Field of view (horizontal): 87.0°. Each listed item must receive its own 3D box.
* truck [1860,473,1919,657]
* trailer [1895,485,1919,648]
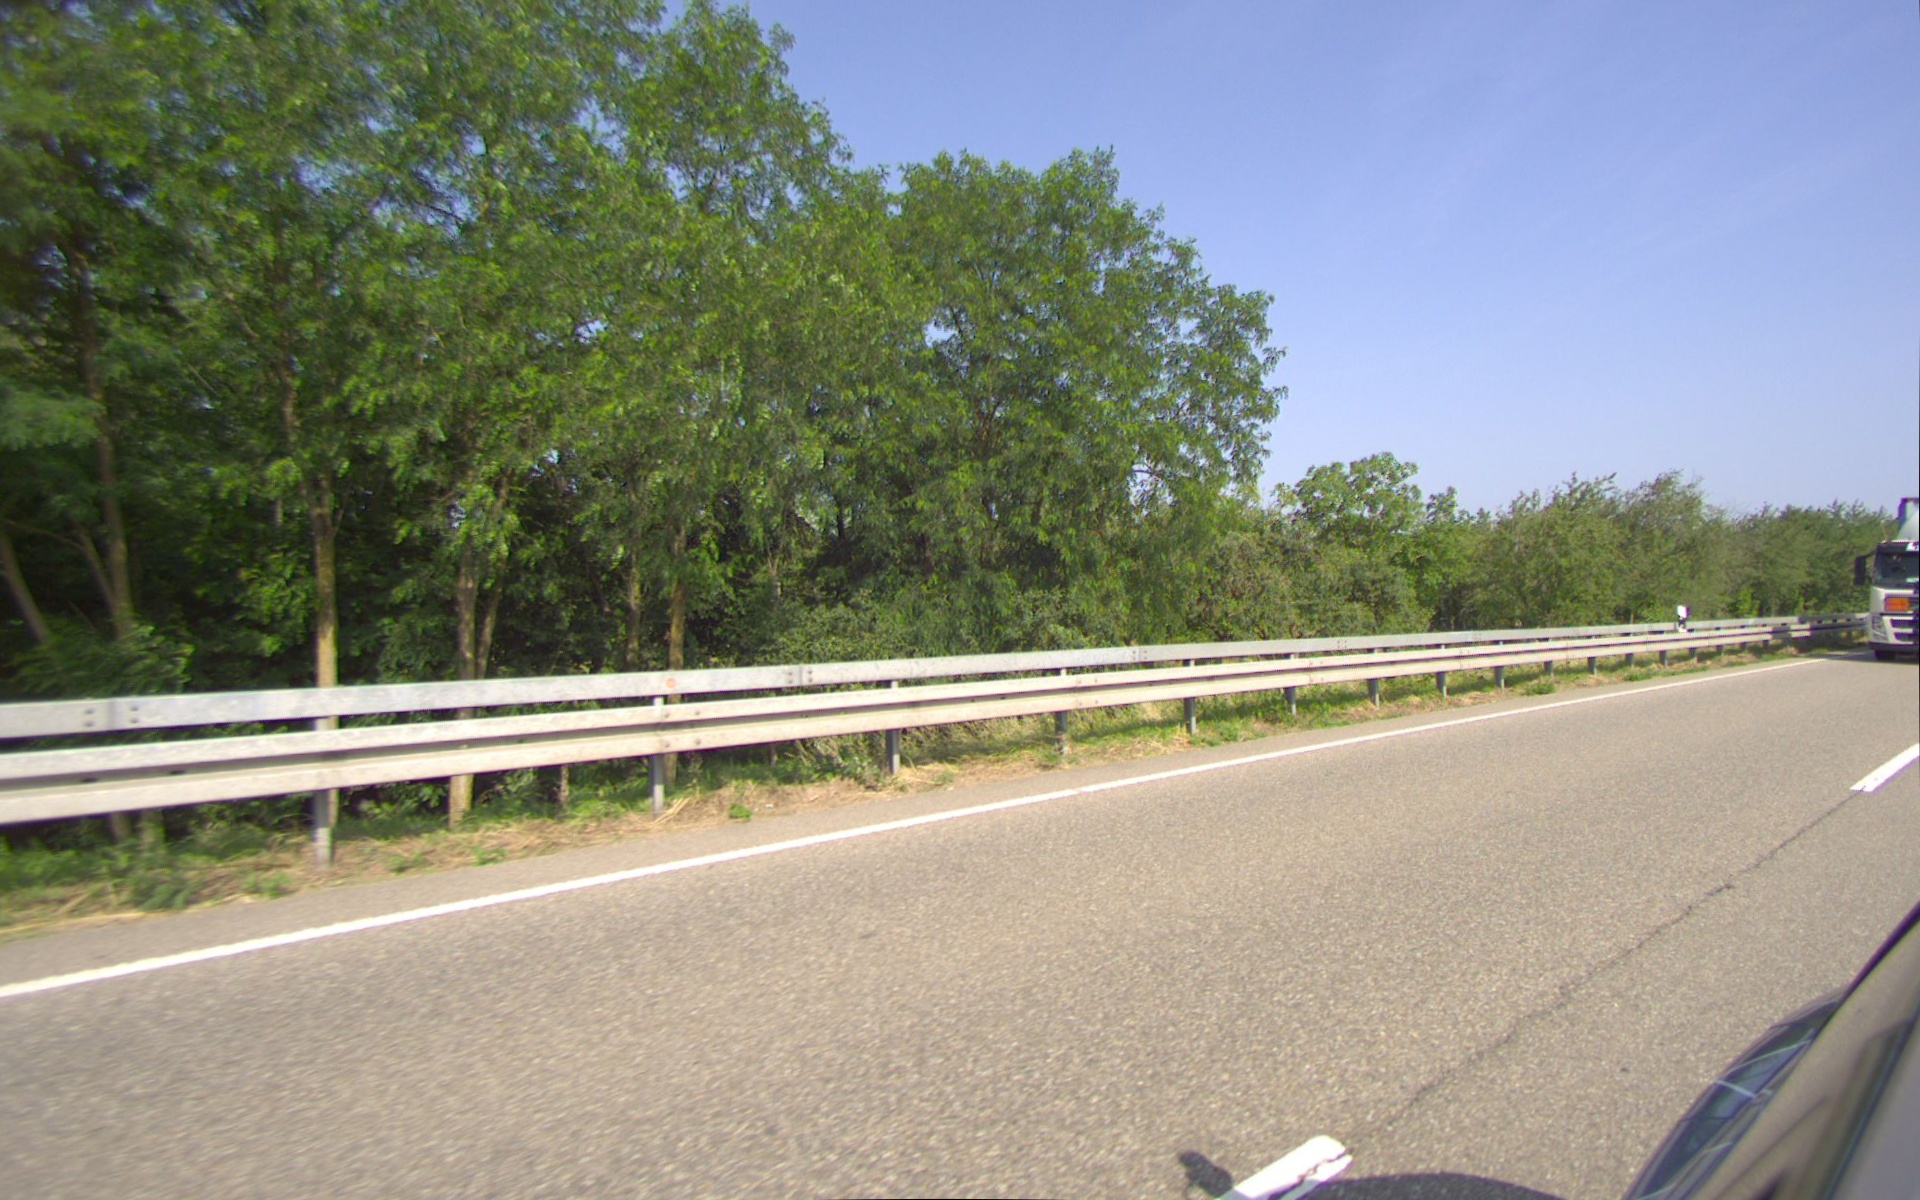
[{"bbox_3d":[23.371,-0.794,23.516,5.526,4.010,2.779,-1,2,-39],"label":"truck"},{"bbox_3d":[27.471,-0.865,26.846,8.039,4.041,2.763,-1,2,-39],"label":"trailer"}]
